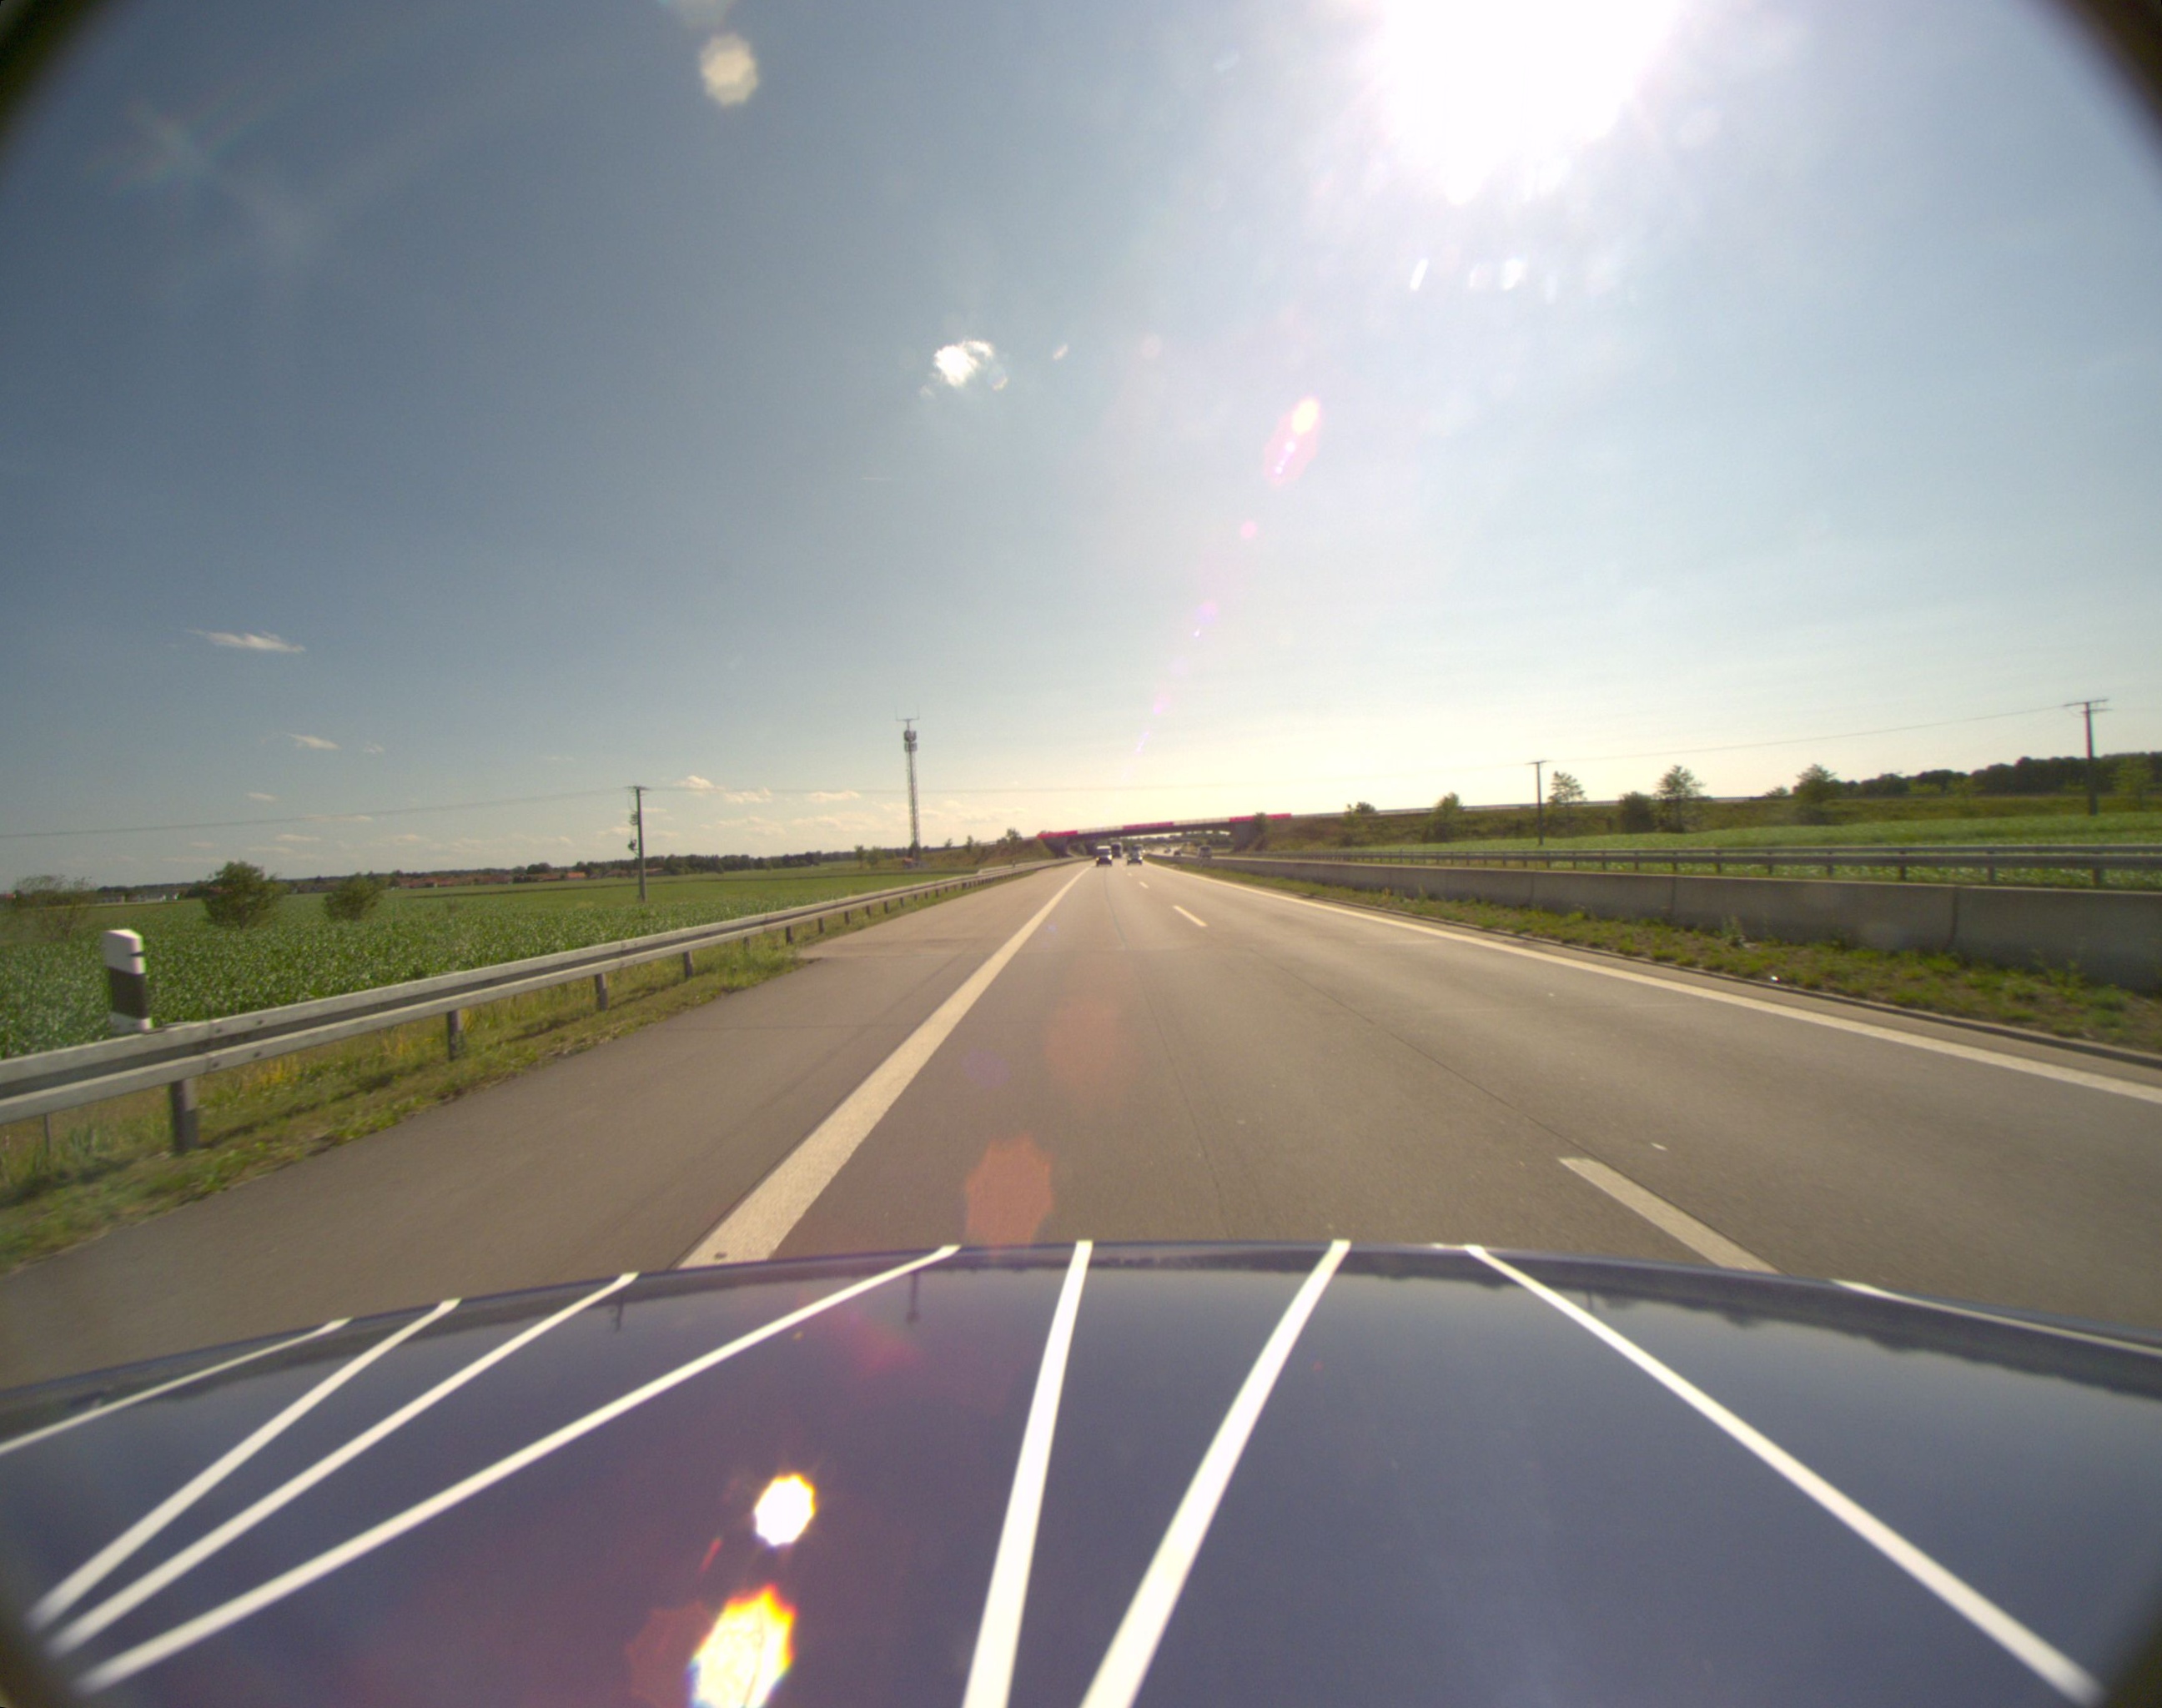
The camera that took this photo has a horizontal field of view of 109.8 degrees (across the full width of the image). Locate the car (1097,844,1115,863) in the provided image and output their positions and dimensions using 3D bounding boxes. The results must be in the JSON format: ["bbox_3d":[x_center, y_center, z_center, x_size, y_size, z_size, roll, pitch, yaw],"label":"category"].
[{"bbox_3d":[3.056,-0.078,91.329,2.030,2.225,4.818,-2,1,2],"label":"car"}]

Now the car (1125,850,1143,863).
[{"bbox_3d":[6.519,0.291,94.178,2.030,1.600,4.818,-2,0,1],"label":"car"}]

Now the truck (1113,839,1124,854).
[{"bbox_3d":[9.862,-2.050,201.363,2.762,3.792,7.517,-3,1,2],"label":"truck"}]

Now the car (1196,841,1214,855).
[{"bbox_3d":[19.076,-0.955,116.908,1.998,2.002,5.613,-2,1,2],"label":"car"}]

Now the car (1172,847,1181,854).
[{"bbox_3d":[23.316,-0.876,185.144,1.864,1.505,4.586,-4,0,3],"label":"car"}]
